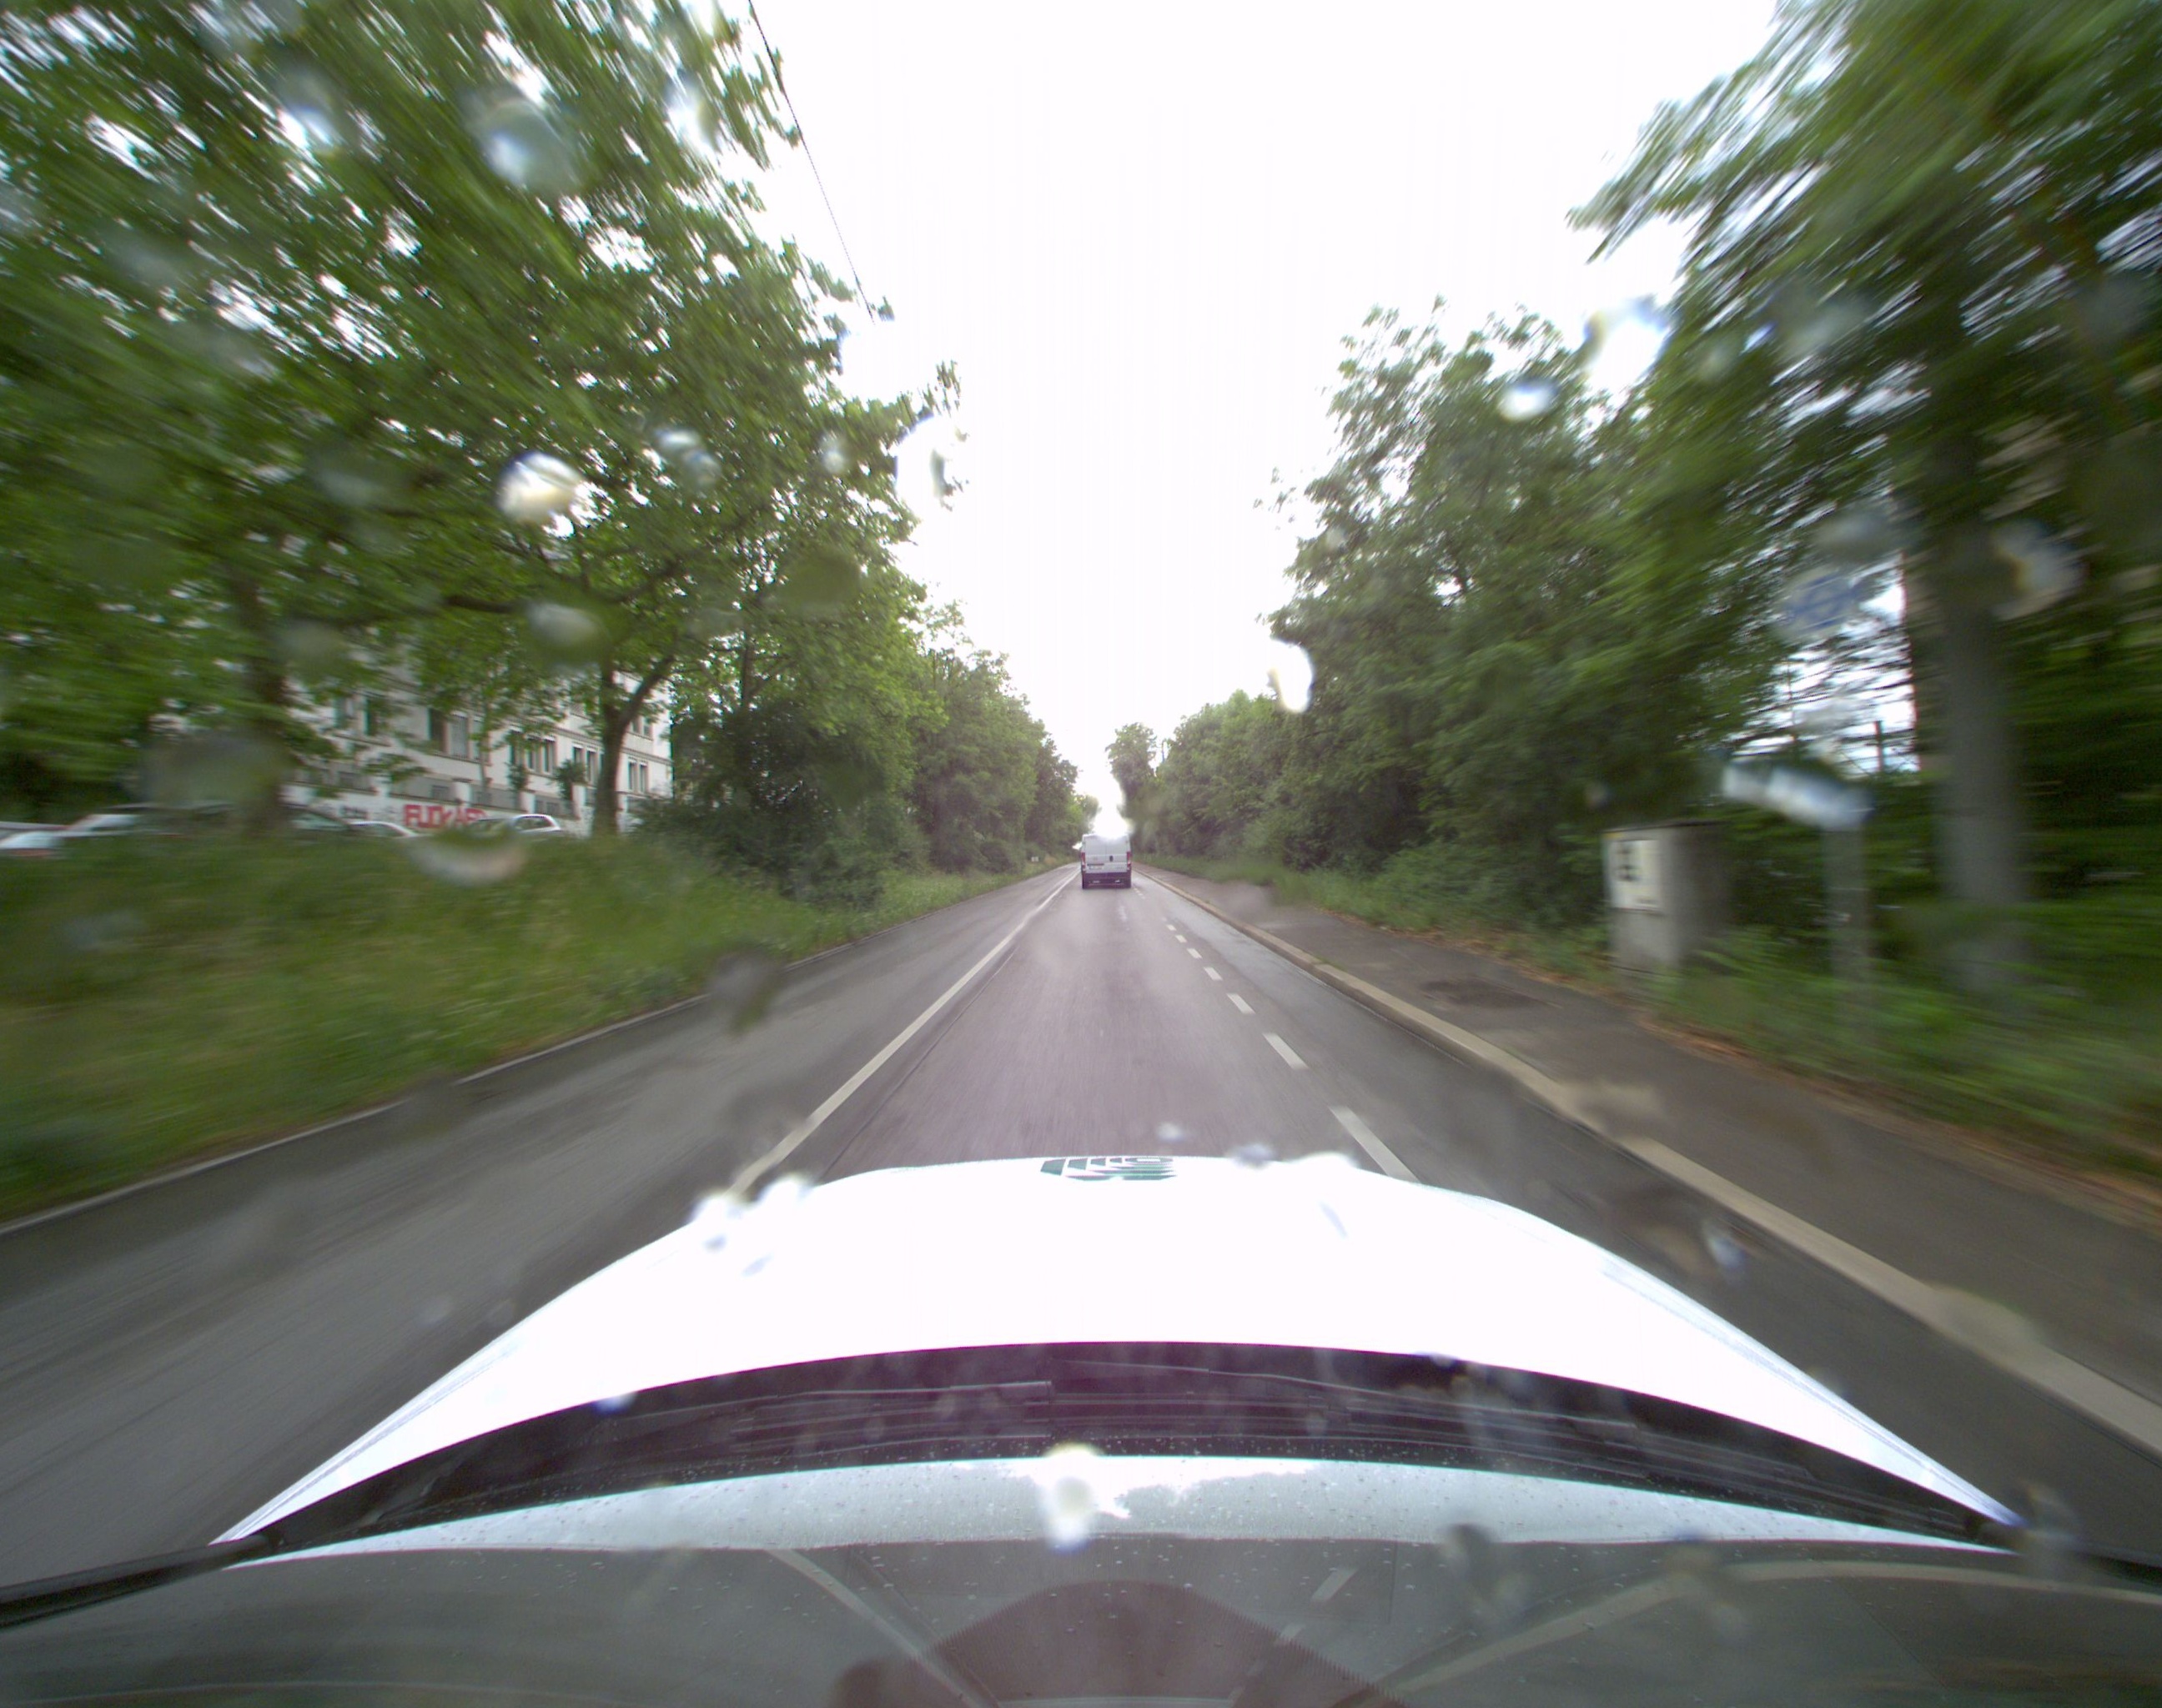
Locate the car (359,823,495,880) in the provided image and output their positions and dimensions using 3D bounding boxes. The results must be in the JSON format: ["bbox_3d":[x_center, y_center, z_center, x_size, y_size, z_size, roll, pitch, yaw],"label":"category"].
[{"bbox_3d":[-18.886,-0.023,23.678,1.429,1.458,3.054,-3,-2,1],"label":"car"}]

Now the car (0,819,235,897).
[{"bbox_3d":[-18.685,0.123,15.753,1.355,1.310,3.087,-3,-2,2],"label":"car"}]

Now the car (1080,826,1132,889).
[{"bbox_3d":[1.068,0.120,34.923,2.042,2.516,4.946,0,1,2],"label":"car"}]

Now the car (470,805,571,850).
[{"bbox_3d":[-19.080,-0.869,27.863,1.379,1.298,3.013,-3,-2,-2],"label":"car"}]

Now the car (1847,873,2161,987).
[{"bbox_3d":[14.916,1.092,13.135,1.545,1.464,4.006,-3,-1,5],"label":"car"}]

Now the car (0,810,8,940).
[{"bbox_3d":[-12.495,0.211,7.110,1.698,1.404,3.443,-3,-2,-1],"label":"car"}]
